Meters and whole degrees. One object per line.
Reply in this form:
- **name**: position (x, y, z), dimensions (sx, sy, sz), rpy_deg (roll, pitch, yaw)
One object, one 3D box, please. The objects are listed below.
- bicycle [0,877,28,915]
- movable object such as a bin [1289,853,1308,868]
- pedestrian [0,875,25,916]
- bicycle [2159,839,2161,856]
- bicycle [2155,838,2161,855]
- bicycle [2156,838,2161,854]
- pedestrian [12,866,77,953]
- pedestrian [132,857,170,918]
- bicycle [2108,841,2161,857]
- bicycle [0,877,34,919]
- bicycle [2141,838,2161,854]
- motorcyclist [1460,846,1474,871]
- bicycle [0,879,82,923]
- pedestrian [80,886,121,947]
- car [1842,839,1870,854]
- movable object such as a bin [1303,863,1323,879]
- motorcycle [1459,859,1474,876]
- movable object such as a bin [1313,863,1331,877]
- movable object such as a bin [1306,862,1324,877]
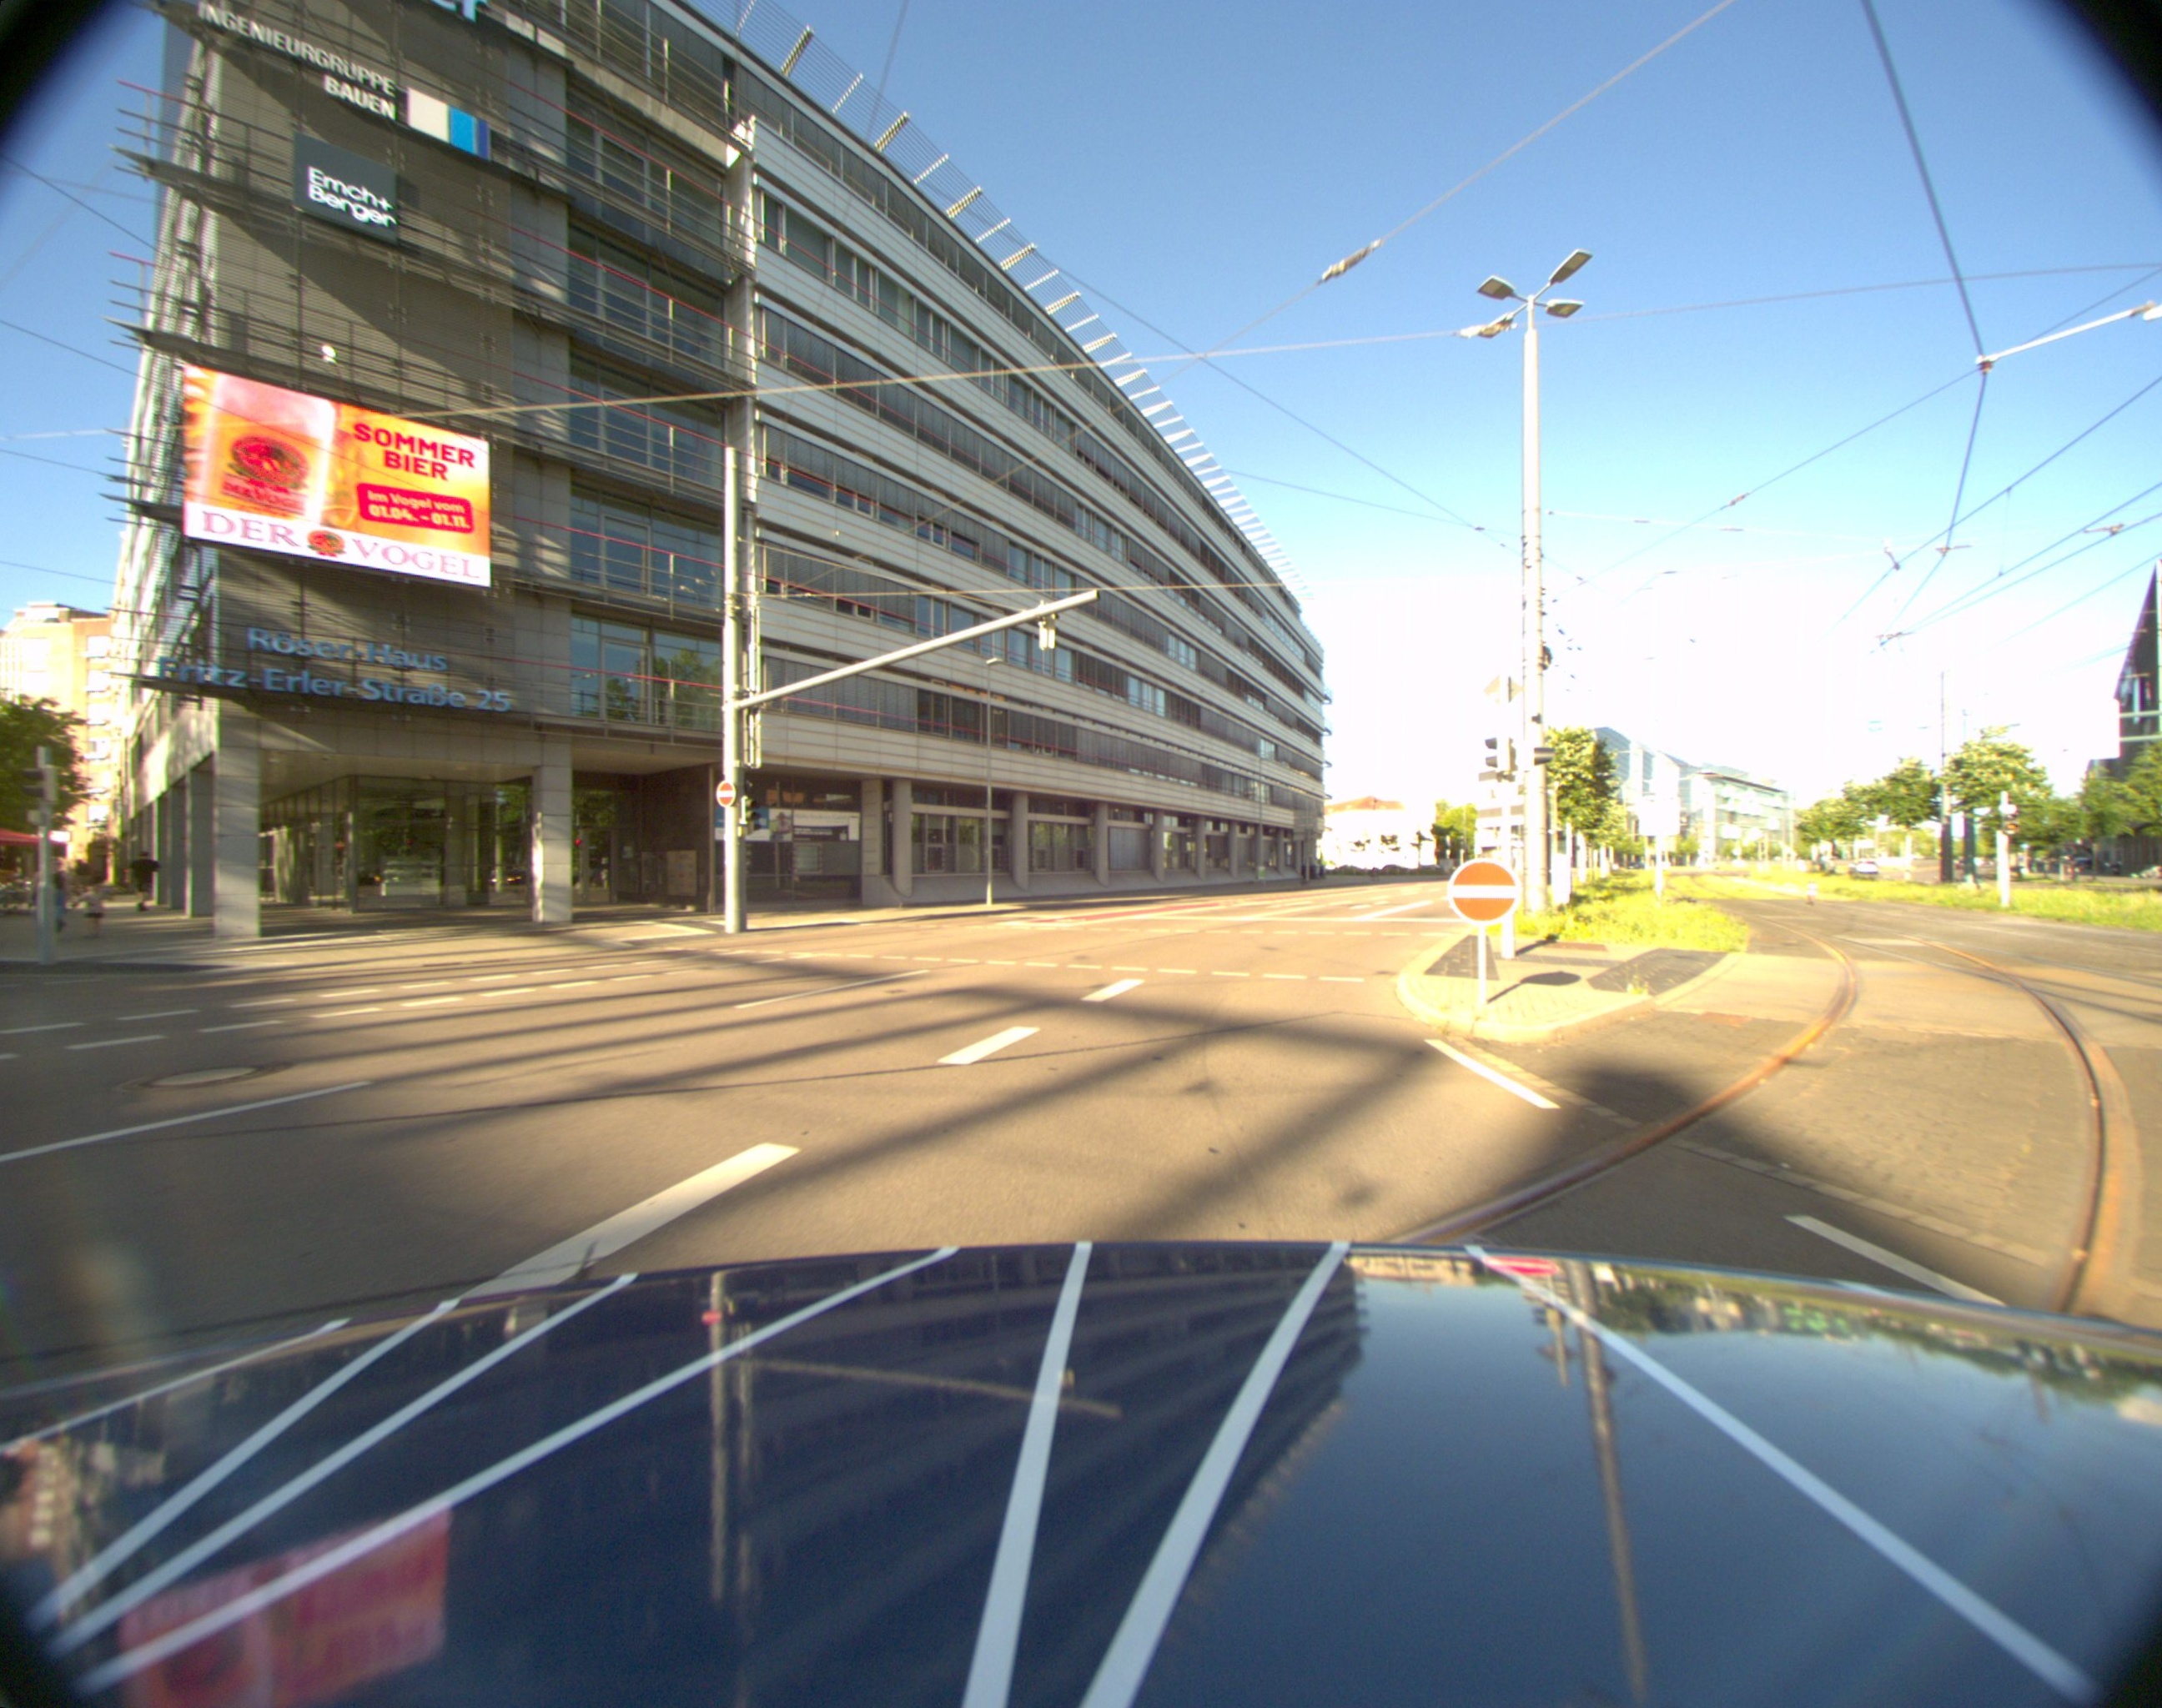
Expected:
- **bicycle**: position (-34.800, 1.348, 23.548), dimensions (0.773, 1.206, 2.398), rpy_deg (-1, -1, 17)
- **movable object such as a bin**: position (19.350, 0.566, 67.678), dimensions (1.325, 1.293, 1.176), rpy_deg (0, 1, 35)
- **pedestrian**: position (-46.157, 1.793, 32.765), dimensions (0.791, 1.724, 0.638), rpy_deg (-2, 0, 37)
- **bicycle**: position (70.658, -0.429, 48.070), dimensions (0.898, 1.097, 2.684), rpy_deg (0, 0, -44)
- **bicycle**: position (72.155, -0.483, 49.319), dimensions (0.898, 1.097, 2.684), rpy_deg (0, 0, -44)
- **bicycle**: position (73.634, -0.532, 50.314), dimensions (0.898, 1.097, 2.684), rpy_deg (0, 0, -44)
- **pedestrian**: position (-20.035, 1.051, 14.693), dimensions (0.791, 1.631, 0.662), rpy_deg (-1, 0, 31)
- **pedestrian**: position (-27.083, 0.979, 22.136), dimensions (0.791, 1.724, 0.588), rpy_deg (-2, 0, 43)
- **bicycle**: position (78.394, -0.366, 56.251), dimensions (0.898, 1.097, 2.684), rpy_deg (0, 0, -44)
- **bicycle**: position (-32.255, 1.298, 21.838), dimensions (0.773, 1.206, 2.398), rpy_deg (-1, -1, 17)
- **bicycle**: position (74.769, -0.570, 51.879), dimensions (0.898, 1.097, 2.684), rpy_deg (0, 0, -44)
- **motorcyclist**: position (28.813, 0.325, 56.741), dimensions (0.819, 1.847, 1.114), rpy_deg (1, 2, 32)
- **bicycle**: position (-30.614, 1.358, 21.762), dimensions (0.773, 1.206, 2.400), rpy_deg (-1, -1, 38)
- **pedestrian**: position (-19.944, 1.261, 15.452), dimensions (0.460, 1.203, 0.444), rpy_deg (-1, 0, 31)
- **car**: position (81.857, -0.766, 80.276), dimensions (1.622, 1.519, 4.813), rpy_deg (0, 1, 40)
- **movable object such as a bin**: position (20.363, 1.487, 66.746), dimensions (1.325, 1.293, 1.176), rpy_deg (0, 1, 35)
- **motorcycle**: position (28.758, 0.994, 56.670), dimensions (0.819, 1.214, 2.260), rpy_deg (1, 1, 32)
- **movable object such as a bin**: position (22.537, 1.498, 71.038), dimensions (1.171, 1.293, 1.331), rpy_deg (0, 1, 35)
- **movable object such as a bin**: position (21.547, 1.428, 70.022), dimensions (1.171, 1.293, 1.331), rpy_deg (0, 1, 35)
